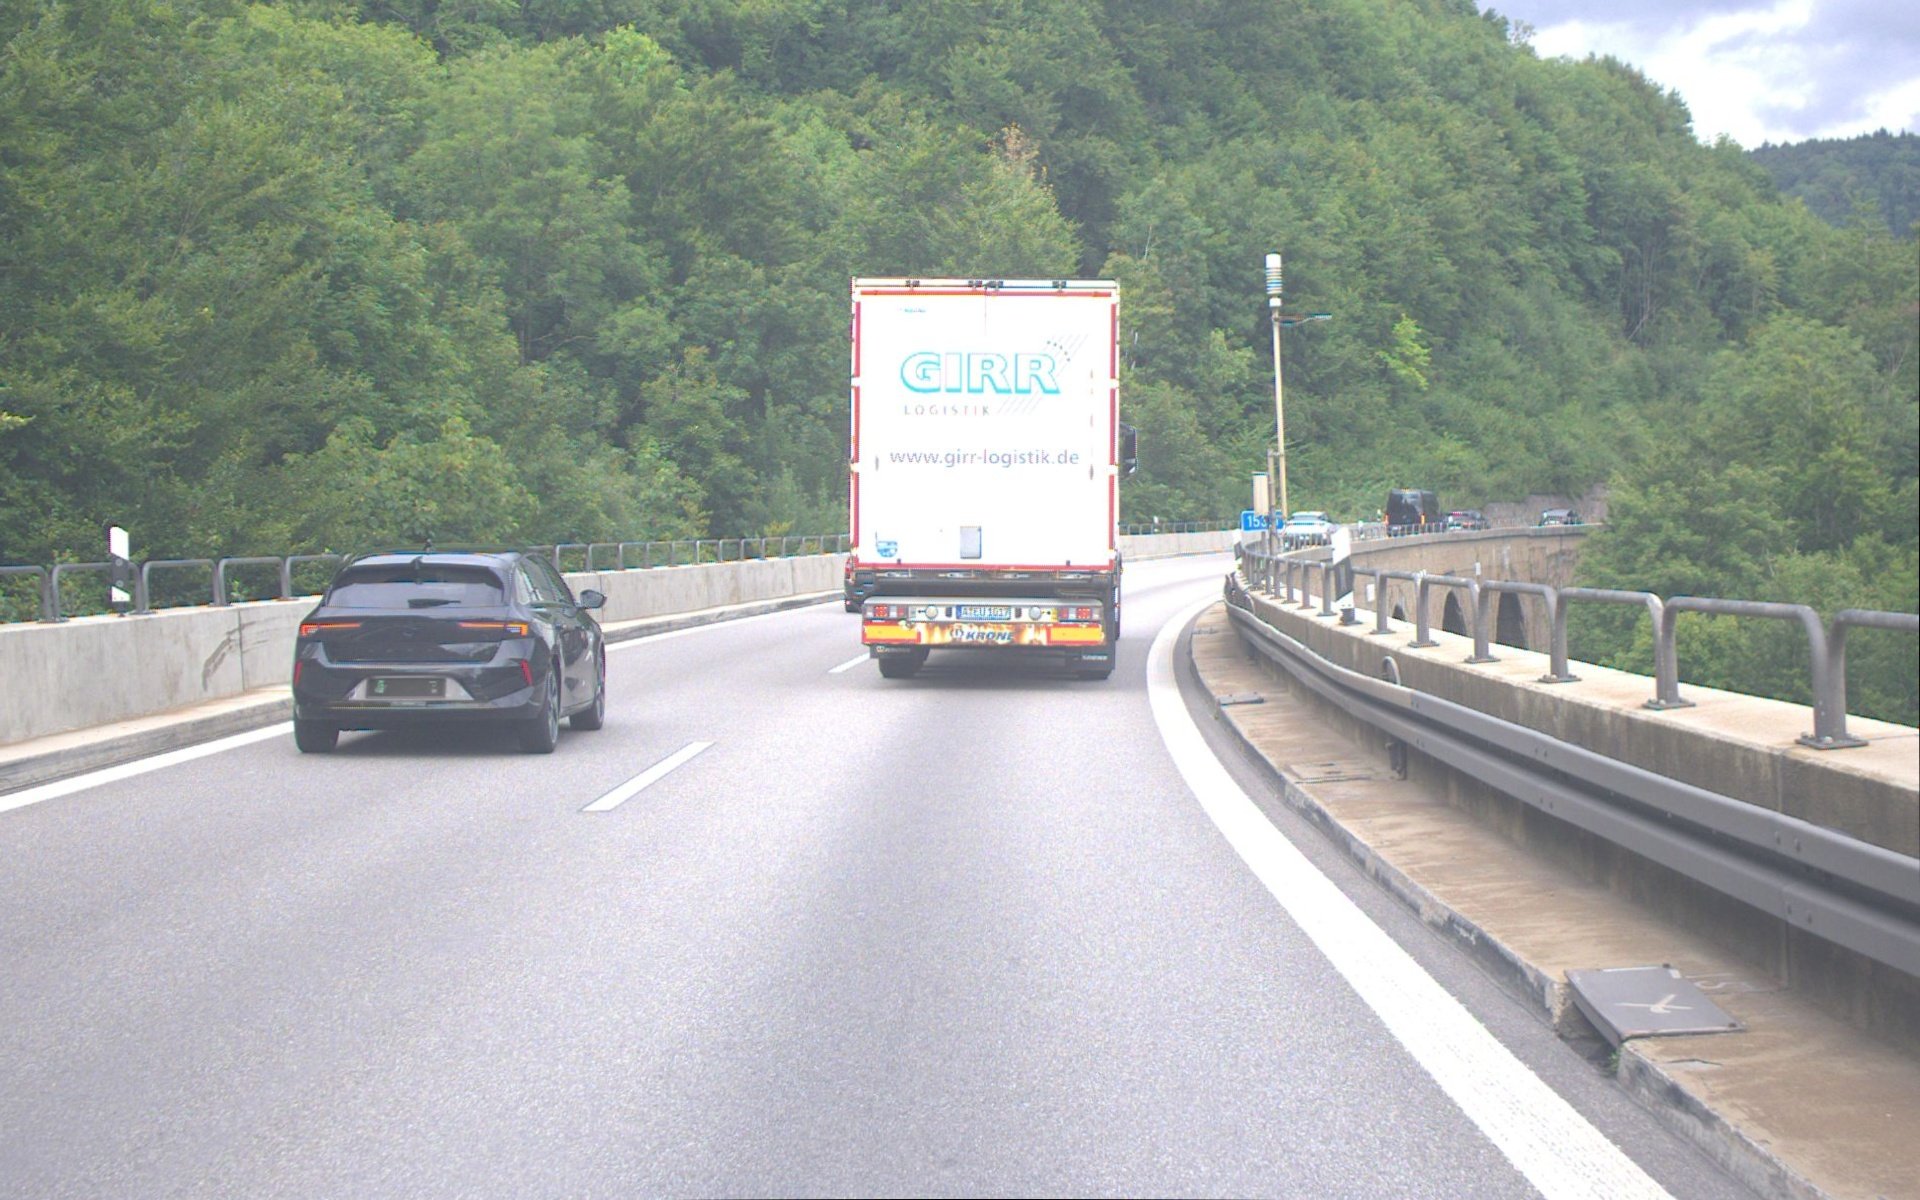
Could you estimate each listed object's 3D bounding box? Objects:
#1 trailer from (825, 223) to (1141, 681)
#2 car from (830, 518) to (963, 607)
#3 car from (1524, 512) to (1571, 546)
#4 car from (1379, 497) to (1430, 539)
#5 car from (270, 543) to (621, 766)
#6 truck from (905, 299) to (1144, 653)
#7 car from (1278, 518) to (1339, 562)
[{"bbox_3d":[0.532,-1.459,38.572,2.813,4.288,12.243,0,1,4],"label":"trailer"},{"bbox_3d":[-1.085,-0.672,61.182,1.884,1.505,4.418,0,1,5],"label":"car"},{"bbox_3d":[32.561,-3.928,190.573,1.995,1.788,3.996,0,0,18],"label":"car"},{"bbox_3d":[21.963,-4.034,169.759,1.995,2.007,3.997,0,0,14],"label":"car"},{"bbox_3d":[-3.629,0.321,25.039,1.773,1.456,4.581,0,1,1],"label":"car"},{"bbox_3d":[0.949,-1.542,45.099,2.813,4.288,6.258,0,1,4],"label":"truck"},{"bbox_3d":[14.807,-2.537,145.916,1.995,1.788,3.997,0,0,14],"label":"car"}]
